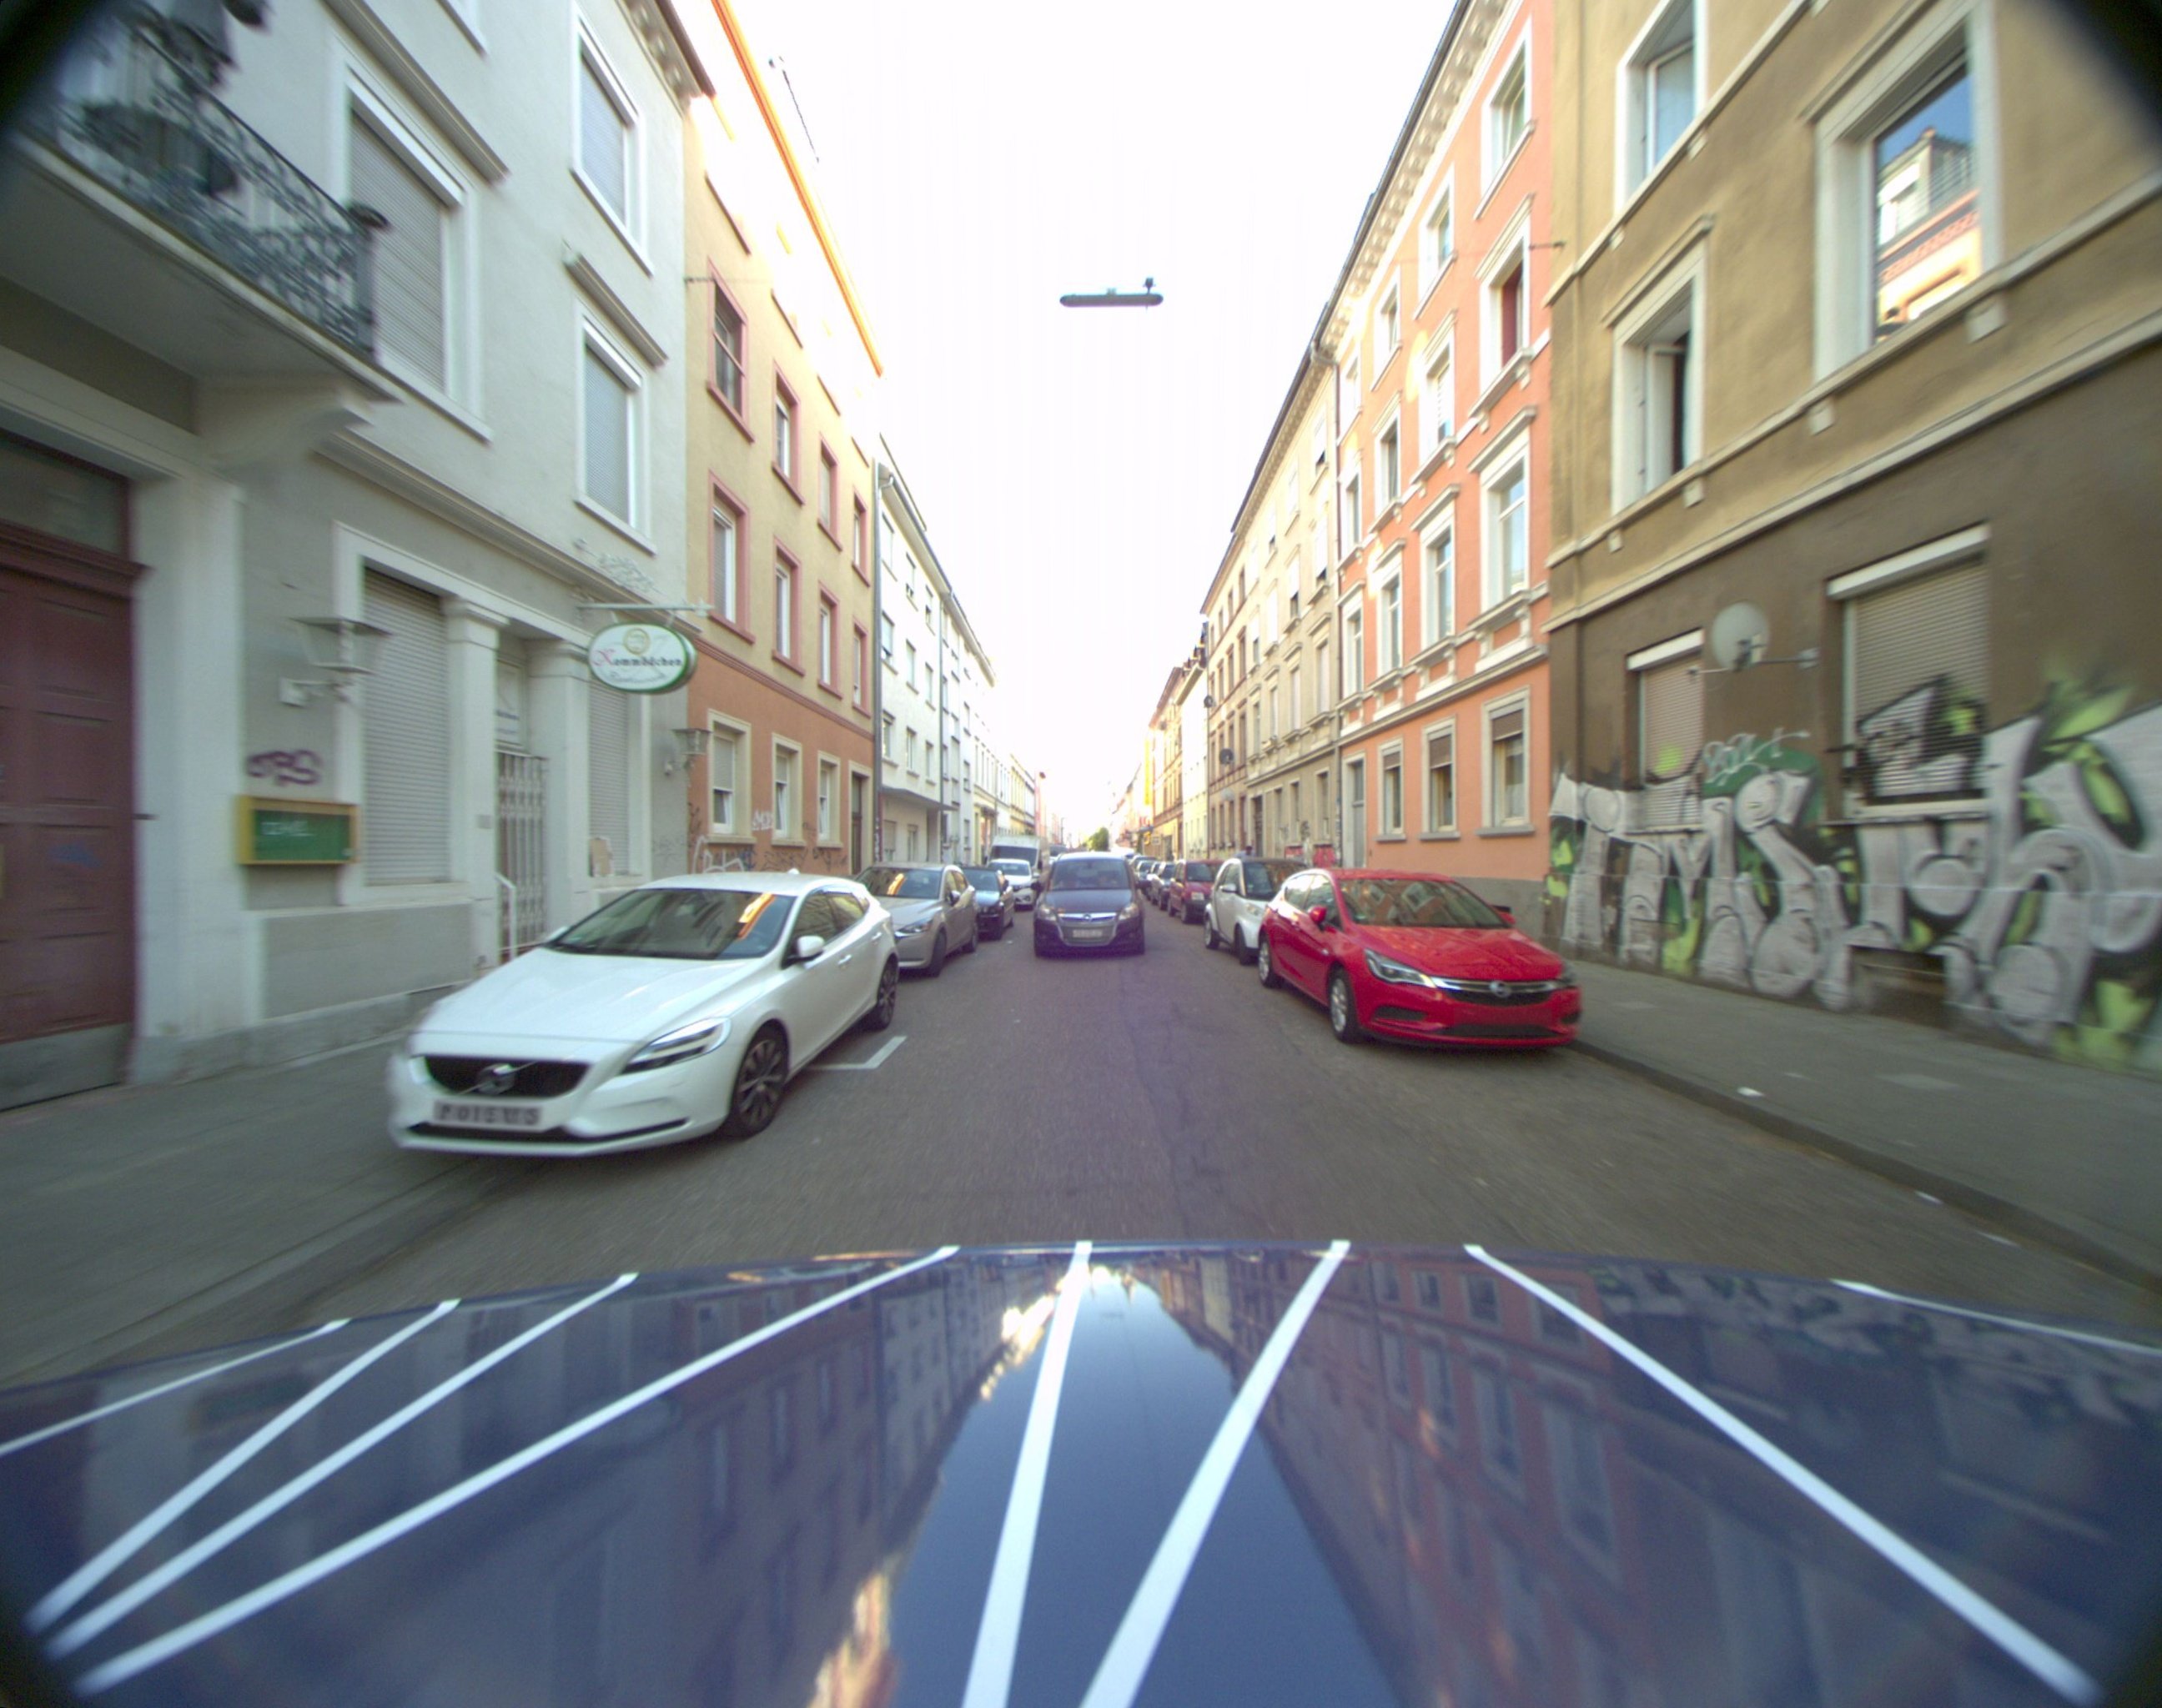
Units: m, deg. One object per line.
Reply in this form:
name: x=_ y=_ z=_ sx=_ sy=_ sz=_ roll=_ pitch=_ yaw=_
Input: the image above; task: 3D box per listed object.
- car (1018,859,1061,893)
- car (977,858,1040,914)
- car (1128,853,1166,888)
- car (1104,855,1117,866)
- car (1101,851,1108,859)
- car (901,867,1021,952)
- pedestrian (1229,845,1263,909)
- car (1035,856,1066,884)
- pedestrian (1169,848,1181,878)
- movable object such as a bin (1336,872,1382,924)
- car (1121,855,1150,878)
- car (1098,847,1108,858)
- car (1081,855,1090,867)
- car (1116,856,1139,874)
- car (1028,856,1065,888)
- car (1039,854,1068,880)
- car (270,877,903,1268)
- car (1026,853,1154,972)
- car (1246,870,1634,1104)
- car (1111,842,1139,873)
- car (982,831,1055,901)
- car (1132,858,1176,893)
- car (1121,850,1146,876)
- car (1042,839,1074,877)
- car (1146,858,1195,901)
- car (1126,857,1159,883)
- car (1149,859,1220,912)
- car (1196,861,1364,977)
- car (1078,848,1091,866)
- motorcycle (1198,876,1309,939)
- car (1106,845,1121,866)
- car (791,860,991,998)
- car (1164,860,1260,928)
car: x=-1.892 y=0.992 z=35.692 sx=1.683 sy=1.434 sz=3.860 roll=-2 pitch=0 yaw=1
car: x=-2.187 y=0.939 z=23.863 sx=1.683 sy=1.550 sz=3.859 roll=-2 pitch=0 yaw=-2
car: x=3.321 y=0.807 z=38.803 sx=1.683 sy=1.674 sz=3.860 roll=0 pitch=0 yaw=1
car: x=3.973 y=0.908 z=103.902 sx=1.683 sy=1.381 sz=3.860 roll=0 pitch=0 yaw=1
car: x=5.780 y=0.310 z=188.052 sx=1.683 sy=1.851 sz=4.159 roll=-2 pitch=0 yaw=1
car: x=-2.338 y=1.046 z=15.954 sx=1.772 sy=1.386 sz=4.494 roll=-2 pitch=0 yaw=0
pedestrian: x=4.777 y=0.662 z=22.020 sx=0.790 sy=1.820 sz=0.594 roll=-2 pitch=1 yaw=1
car: x=-1.792 y=0.927 z=45.682 sx=1.683 sy=1.511 sz=3.860 roll=-2 pitch=0 yaw=0
pedestrian: x=5.821 y=0.579 z=47.175 sx=0.626 sy=1.820 sz=0.594 roll=-2 pitch=1 yaw=2
movable object such as a bin: x=5.922 y=0.934 z=16.224 sx=0.779 sy=1.043 sz=0.662 roll=-3 pitch=0 yaw=9
car: x=3.542 y=0.783 z=49.537 sx=1.683 sy=1.407 sz=3.860 roll=0 pitch=0 yaw=1
car: x=6.222 y=-0.370 z=218.139 sx=2.565 sy=3.029 sz=7.061 roll=-2 pitch=0 yaw=1
car: x=0.846 y=1.349 z=145.946 sx=1.683 sy=2.077 sz=4.159 roll=-2 pitch=0 yaw=1
car: x=3.707 y=0.903 z=61.534 sx=1.683 sy=1.381 sz=3.860 roll=0 pitch=0 yaw=1
car: x=-1.779 y=0.911 z=40.518 sx=1.683 sy=1.556 sz=3.860 roll=-2 pitch=0 yaw=1
car: x=-1.821 y=0.827 z=50.966 sx=1.683 sy=1.626 sz=3.860 roll=-2 pitch=0 yaw=1
car: x=-2.621 y=1.011 z=5.376 sx=1.683 sy=1.501 sz=4.190 roll=-2 pitch=0 yaw=0
car: x=0.143 y=0.839 z=13.561 sx=1.798 sy=1.652 sz=5.184 roll=-2 pitch=0 yaw=0
car: x=2.923 y=0.960 z=7.320 sx=1.683 sy=1.465 sz=4.202 roll=2 pitch=0 yaw=-1
car: x=3.864 y=0.298 z=67.572 sx=2.094 sy=2.576 sz=5.842 roll=0 pitch=0 yaw=0
car: x=-2.371 y=0.440 z=30.662 sx=2.049 sy=2.498 sz=6.024 roll=-2 pitch=0 yaw=3
car: x=3.201 y=0.920 z=33.897 sx=1.683 sy=1.454 sz=3.860 roll=0 pitch=0 yaw=1
car: x=3.827 y=0.644 z=56.250 sx=1.751 sy=1.880 sz=4.772 roll=0 pitch=0 yaw=3
car: x=-1.640 y=0.297 z=57.133 sx=2.050 sy=2.662 sz=6.185 roll=-2 pitch=0 yaw=1
car: x=3.314 y=0.918 z=28.635 sx=1.682 sy=1.454 sz=3.861 roll=0 pitch=0 yaw=5
car: x=3.531 y=0.898 z=44.498 sx=1.683 sy=1.448 sz=3.860 roll=0 pitch=0 yaw=1
car: x=3.128 y=0.912 z=23.651 sx=1.683 sy=1.454 sz=4.313 roll=0 pitch=0 yaw=1
car: x=2.946 y=0.908 z=11.842 sx=1.684 sy=1.540 sz=2.959 roll=1 pitch=0 yaw=-3
car: x=0.719 y=0.608 z=152.885 sx=2.437 sy=3.404 sz=5.543 roll=-2 pitch=0 yaw=1
motorcycle: x=3.516 y=1.065 z=15.477 sx=2.083 sy=1.121 sz=0.789 roll=-2 pitch=1 yaw=-21
car: x=3.762 y=0.173 z=88.888 sx=1.683 sy=2.352 sz=4.098 roll=0 pitch=0 yaw=1
car: x=-2.562 y=0.933 z=11.342 sx=1.683 sy=1.588 sz=4.191 roll=-2 pitch=0 yaw=3
car: x=3.150 y=0.909 z=18.881 sx=1.683 sy=1.483 sz=3.611 roll=0 pitch=0 yaw=-1
